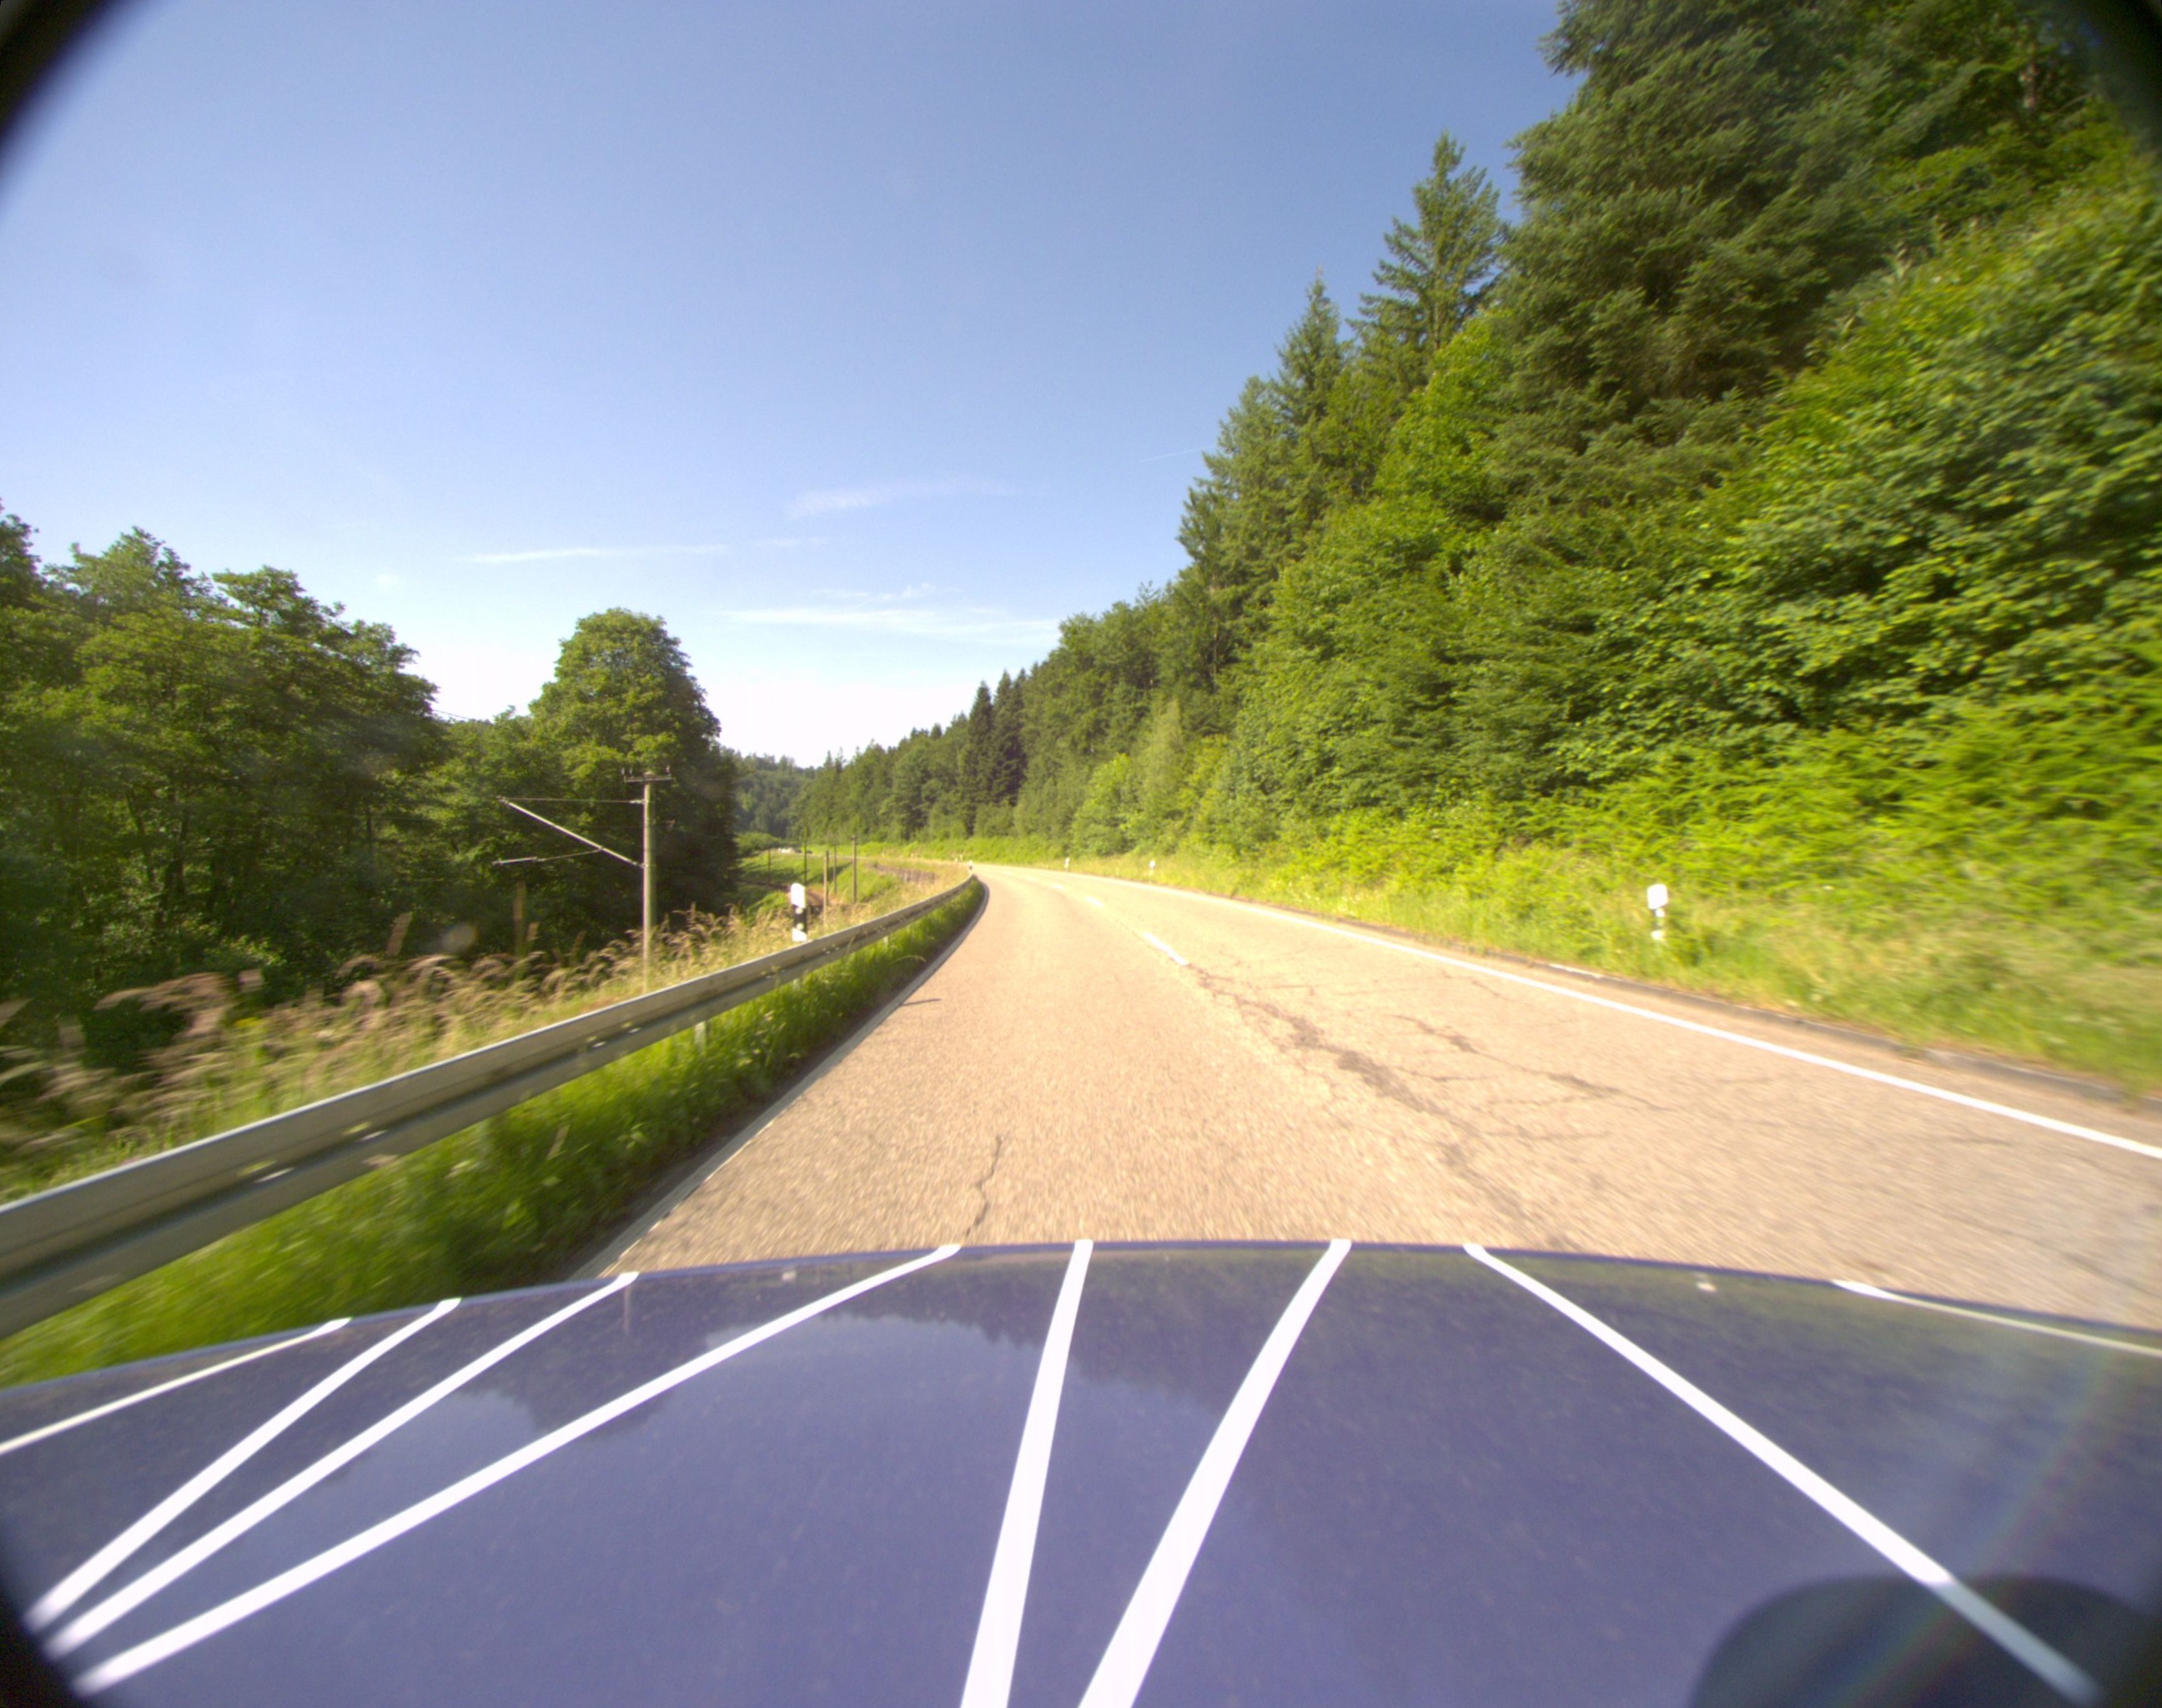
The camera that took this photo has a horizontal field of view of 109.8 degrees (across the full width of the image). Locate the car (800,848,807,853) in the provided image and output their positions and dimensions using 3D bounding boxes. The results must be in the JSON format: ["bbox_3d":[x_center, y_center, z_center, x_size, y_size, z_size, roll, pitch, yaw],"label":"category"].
[{"bbox_3d":[-89.854,-1.207,246.003,1.841,1.619,4.342,-1,1,-26],"label":"car"}]
